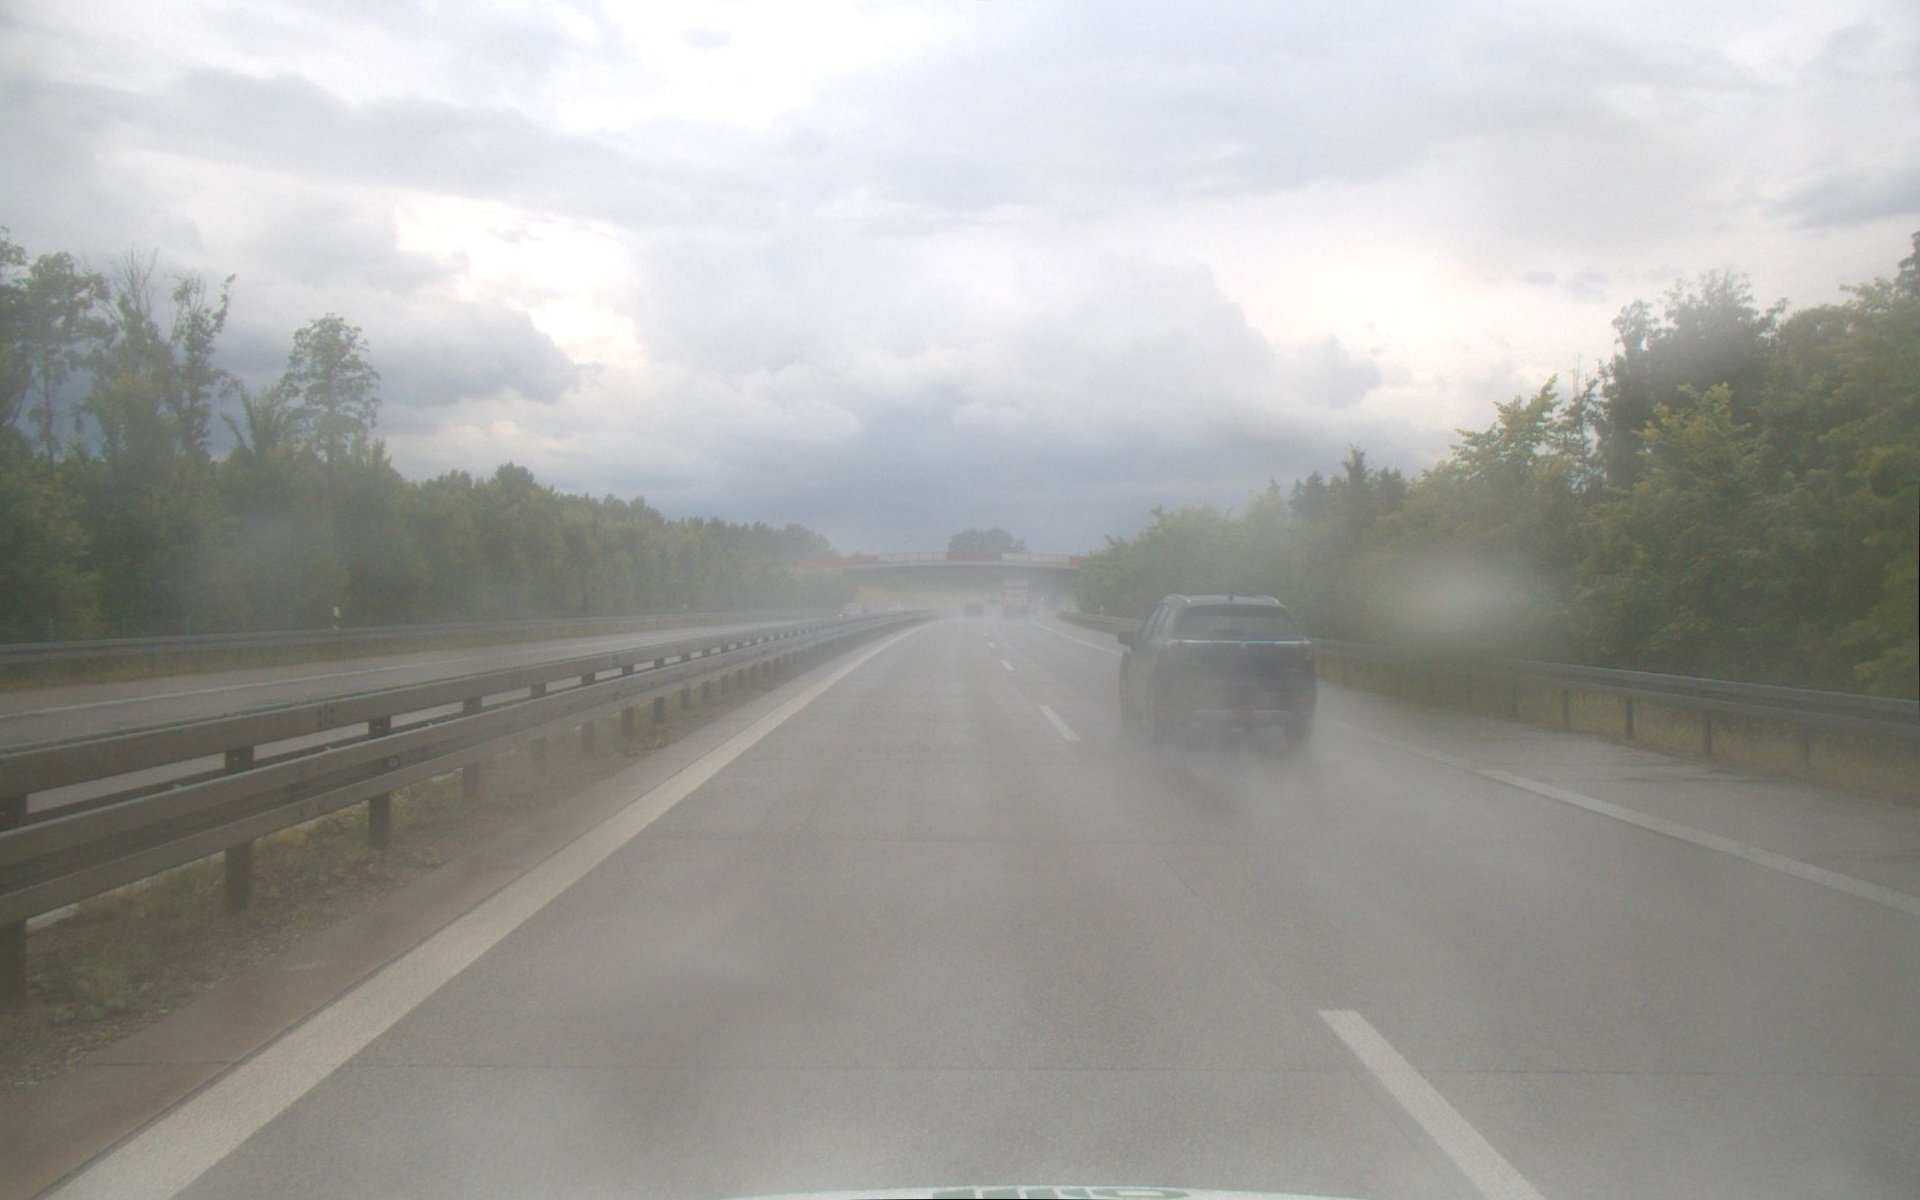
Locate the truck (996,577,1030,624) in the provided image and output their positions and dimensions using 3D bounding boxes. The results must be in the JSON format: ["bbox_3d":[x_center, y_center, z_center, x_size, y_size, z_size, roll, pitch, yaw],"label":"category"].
[{"bbox_3d":[5.194,0.046,162.741,3.177,4.515,8.246,0,0,0],"label":"truck"}]

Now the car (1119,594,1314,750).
[{"bbox_3d":[2.853,0.763,19.116,1.854,1.603,3.633,1,0,3],"label":"car"}]
